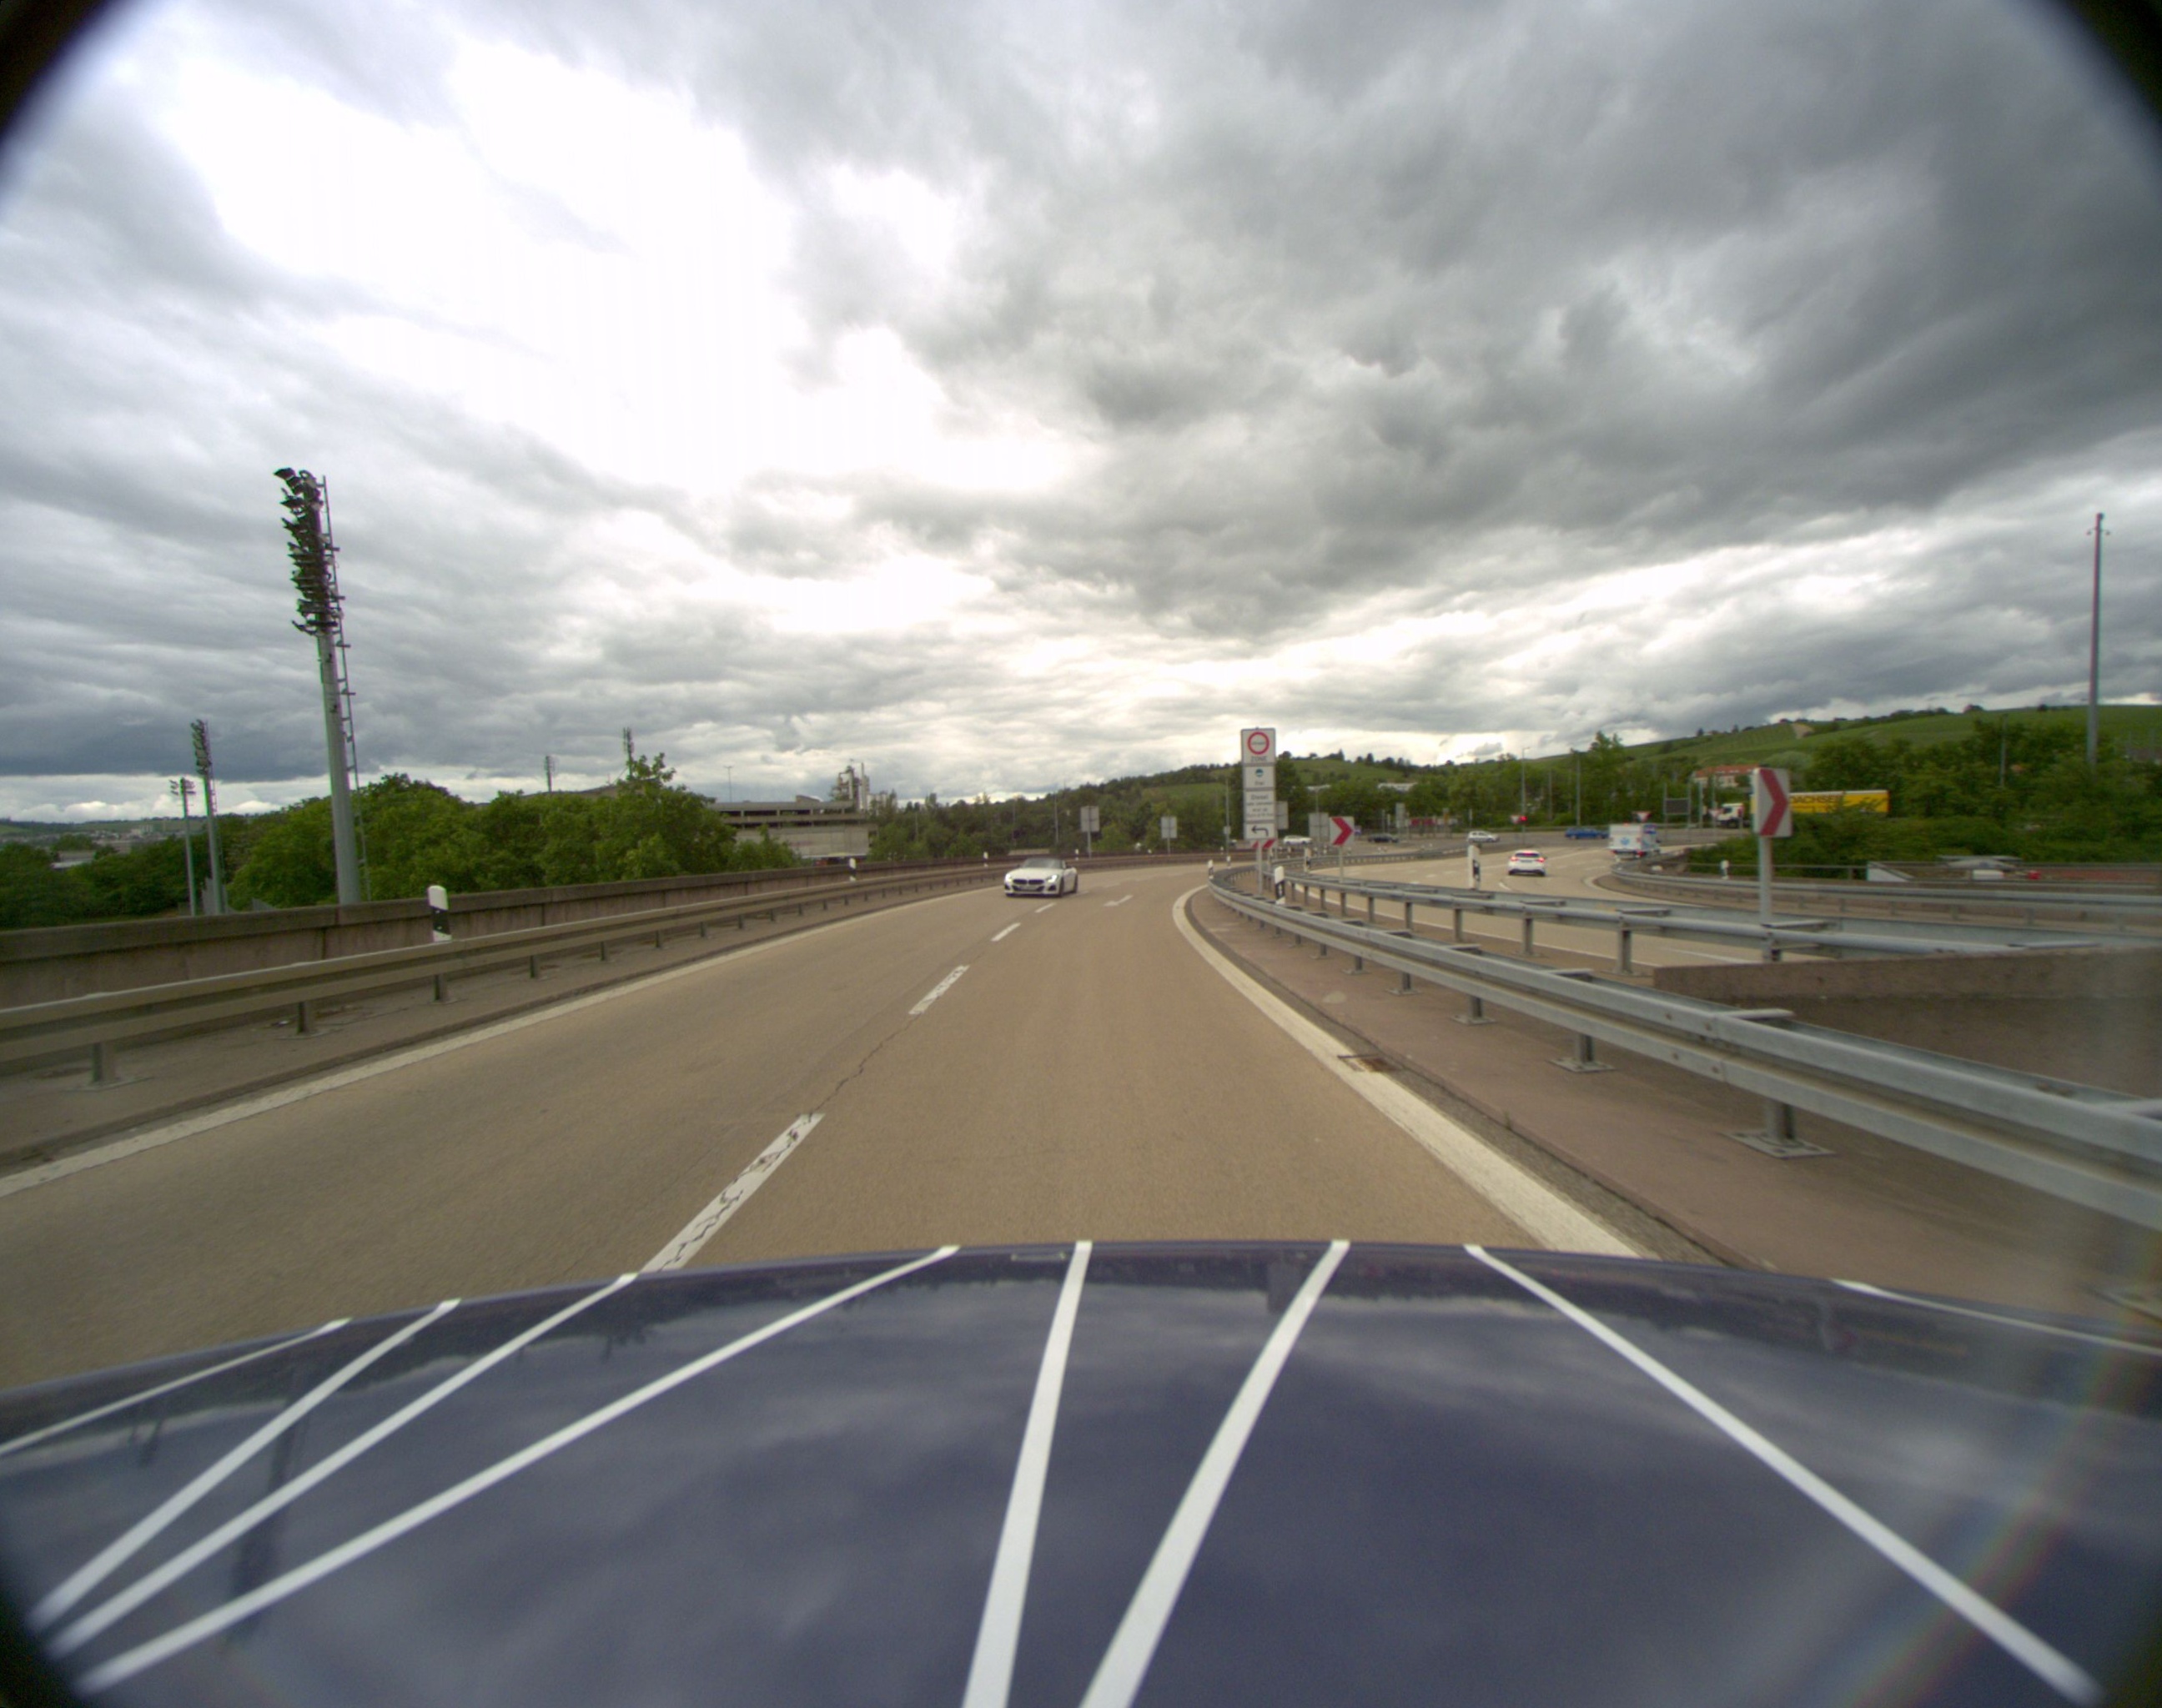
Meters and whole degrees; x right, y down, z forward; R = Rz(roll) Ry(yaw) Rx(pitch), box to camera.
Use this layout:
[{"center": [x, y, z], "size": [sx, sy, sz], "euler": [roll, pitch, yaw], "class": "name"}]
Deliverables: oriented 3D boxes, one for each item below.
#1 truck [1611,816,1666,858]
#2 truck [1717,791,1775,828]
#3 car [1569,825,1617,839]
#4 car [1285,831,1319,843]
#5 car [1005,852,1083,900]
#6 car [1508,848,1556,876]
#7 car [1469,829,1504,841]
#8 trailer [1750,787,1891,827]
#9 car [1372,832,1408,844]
[{"center": [47.080, -1.477, 64.065], "size": [7.008, 3.246, 2.345], "euler": [-2, 5, -43], "class": "truck"}, {"center": [81.716, -5.453, 93.368], "size": [2.639, 4.182, 5.087], "euler": [-6, 4, -42], "class": "truck"}, {"center": [61.962, -2.638, 92.082], "size": [1.612, 1.446, 4.530], "euler": [-6, 4, -41], "class": "car"}, {"center": [34.824, -2.661, 119.913], "size": [1.881, 1.552, 4.702], "euler": [-6, 4, -43], "class": "car"}, {"center": [-1.165, 0.678, 26.262], "size": [1.861, 1.337, 4.826], "euler": [2, 2, 7], "class": "car"}, {"center": [25.842, 0.424, 43.656], "size": [1.912, 1.406, 4.372], "euler": [3, 2, 25], "class": "car"}, {"center": [52.760, -2.443, 98.881], "size": [1.631, 1.366, 3.738], "euler": [-6, 4, -42], "class": "car"}, {"center": [85.962, -5.390, 88.660], "size": [2.639, 4.182, 11.622], "euler": [-6, 4, -42], "class": "trailer"}, {"center": [44.165, -2.310, 108.776], "size": [1.951, 1.548, 4.283], "euler": [-7, 4, -44], "class": "car"}]
